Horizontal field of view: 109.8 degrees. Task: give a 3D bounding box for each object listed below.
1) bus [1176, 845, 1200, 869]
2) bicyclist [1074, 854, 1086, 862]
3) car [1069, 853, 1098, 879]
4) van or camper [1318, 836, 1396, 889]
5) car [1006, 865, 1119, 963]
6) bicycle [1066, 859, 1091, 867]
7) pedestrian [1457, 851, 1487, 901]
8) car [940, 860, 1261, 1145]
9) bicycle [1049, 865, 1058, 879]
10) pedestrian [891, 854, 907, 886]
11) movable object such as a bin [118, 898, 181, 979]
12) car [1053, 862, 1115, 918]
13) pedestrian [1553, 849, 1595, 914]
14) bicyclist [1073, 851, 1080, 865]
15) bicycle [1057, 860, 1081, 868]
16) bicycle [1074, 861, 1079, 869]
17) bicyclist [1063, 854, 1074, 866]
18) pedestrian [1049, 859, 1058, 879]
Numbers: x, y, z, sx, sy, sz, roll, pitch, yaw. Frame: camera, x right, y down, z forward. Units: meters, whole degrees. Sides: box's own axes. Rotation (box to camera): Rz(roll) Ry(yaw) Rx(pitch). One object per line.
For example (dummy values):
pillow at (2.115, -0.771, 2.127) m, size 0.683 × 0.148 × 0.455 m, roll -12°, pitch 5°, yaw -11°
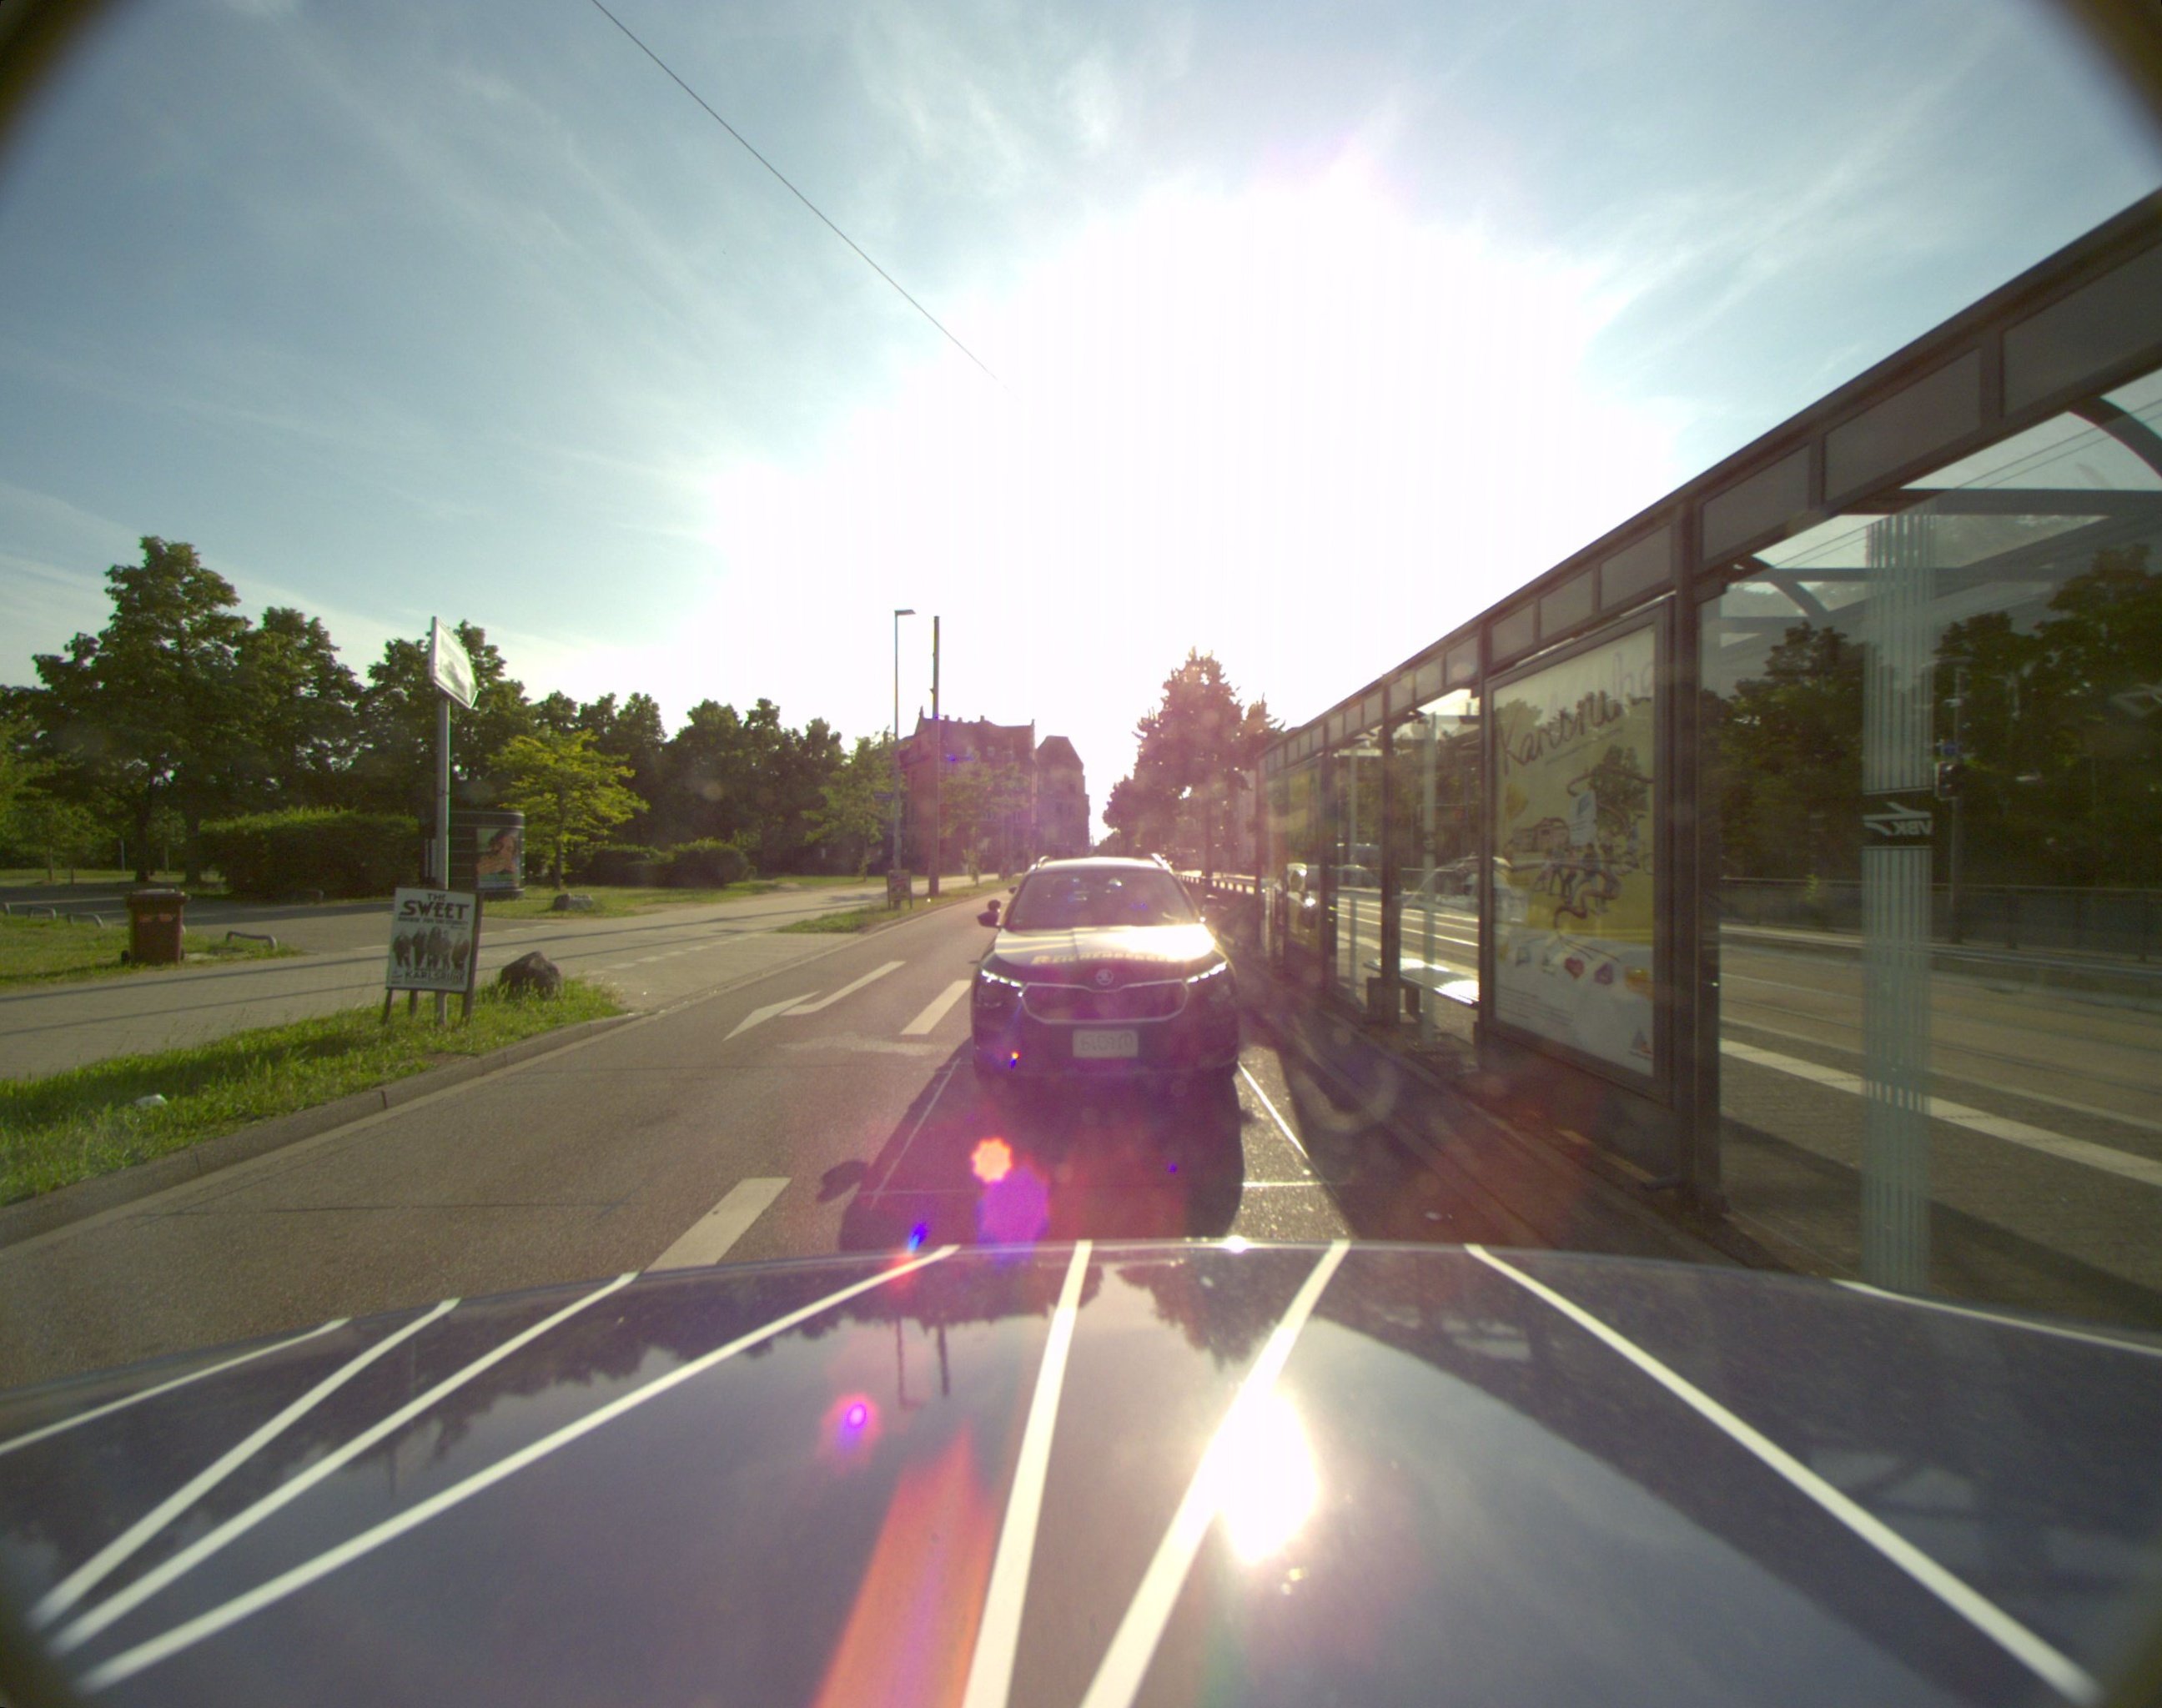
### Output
bus at (16.257, 0.349, 115.628) m, size 2.437 × 3.415 × 9.261 m, roll -2°, pitch 1°, yaw 1°
bicyclist at (-0.090, 0.519, 92.553) m, size 1.402 × 1.000 × 0.888 m, roll 0°, pitch 0°, yaw -1°
car at (0.197, 0.737, 48.591) m, size 1.756 × 1.534 × 4.235 m, roll -1°, pitch 0°, yaw 1°
van or camper at (16.878, 0.440, 46.927) m, size 2.527 × 2.951 × 6.411 m, roll -2°, pitch 1°, yaw 1°
car at (-0.257, 0.979, 14.059) m, size 1.756 × 1.451 × 4.235 m, roll -1°, pitch 0°, yaw 1°
bicycle at (-0.316, 1.083, 92.551) m, size 2.962 × 0.974 × 0.879 m, roll 0°, pitch 0°, yaw -2°
pedestrian at (13.599, 0.752, 26.457) m, size 0.621 × 1.675 × 0.618 m, roll 3°, pitch 1°, yaw 1°
car at (0.143, 0.846, 6.356) m, size 1.756 × 1.534 × 4.235 m, roll -1°, pitch 0°, yaw 1°
bicycle at (-2.164, 1.415, 59.318) m, size 0.652 × 1.040 × 1.980 m, roll -2°, pitch 1°, yaw -2°
pedestrian at (-9.561, 0.833, 39.896) m, size 0.621 × 1.675 × 0.618 m, roll -2°, pitch 0°, yaw 1°
movable object such as a bin at (-11.413, 1.020, 9.322) m, size 0.603 × 0.912 × 0.457 m, roll 1°, pitch 1°, yaw 42°
car at (0.123, 1.046, 23.936) m, size 1.756 × 1.534 × 4.235 m, roll -1°, pitch 0°, yaw 1°
pedestrian at (13.195, 0.732, 20.361) m, size 0.621 × 1.675 × 0.618 m, roll 3°, pitch 1°, yaw 1°
bicyclist at (-0.446, 0.425, 79.805) m, size 0.689 × 1.445 × 1.111 m, roll 0°, pitch 0°, yaw 0°
bicycle at (-1.525, 1.312, 95.484) m, size 2.962 × 0.974 × 0.879 m, roll 0°, pitch 0°, yaw -2°
bicycle at (-0.478, 1.133, 79.757) m, size 0.567 × 0.789 × 2.041 m, roll 0°, pitch 0°, yaw 0°
bicyclist at (-1.580, 0.747, 95.497) m, size 1.402 × 1.538 × 0.888 m, roll 0°, pitch 0°, yaw -1°
pedestrian at (-2.166, 1.189, 59.294) m, size 0.637 × 1.512 × 0.844 m, roll -2°, pitch 1°, yaw -3°
